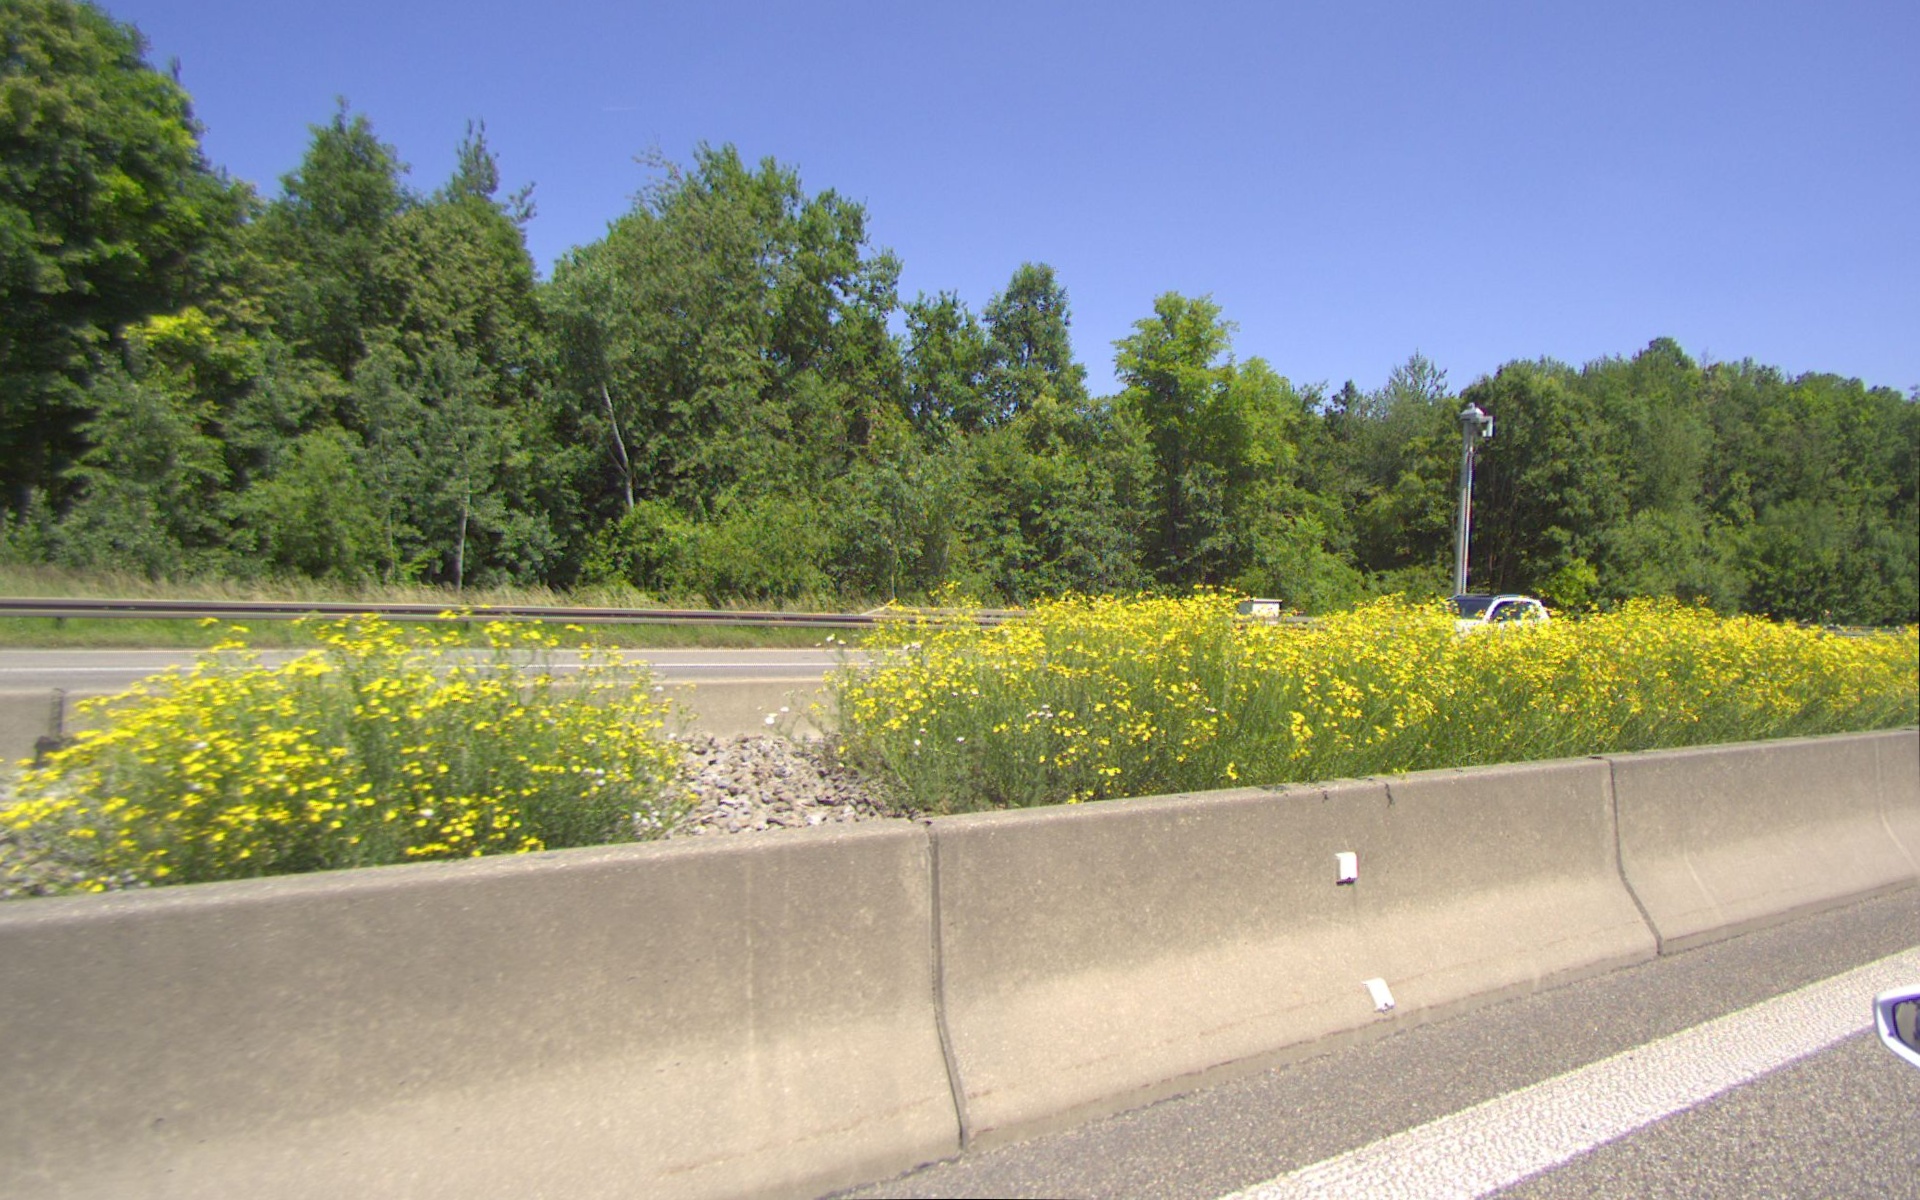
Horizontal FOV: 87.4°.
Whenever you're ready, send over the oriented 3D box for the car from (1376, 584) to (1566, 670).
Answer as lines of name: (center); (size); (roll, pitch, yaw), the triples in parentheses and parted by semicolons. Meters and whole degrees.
car: (11.801, 0.611, 23.162); (4.271, 1.789, 1.872); (1, 1, -30)
